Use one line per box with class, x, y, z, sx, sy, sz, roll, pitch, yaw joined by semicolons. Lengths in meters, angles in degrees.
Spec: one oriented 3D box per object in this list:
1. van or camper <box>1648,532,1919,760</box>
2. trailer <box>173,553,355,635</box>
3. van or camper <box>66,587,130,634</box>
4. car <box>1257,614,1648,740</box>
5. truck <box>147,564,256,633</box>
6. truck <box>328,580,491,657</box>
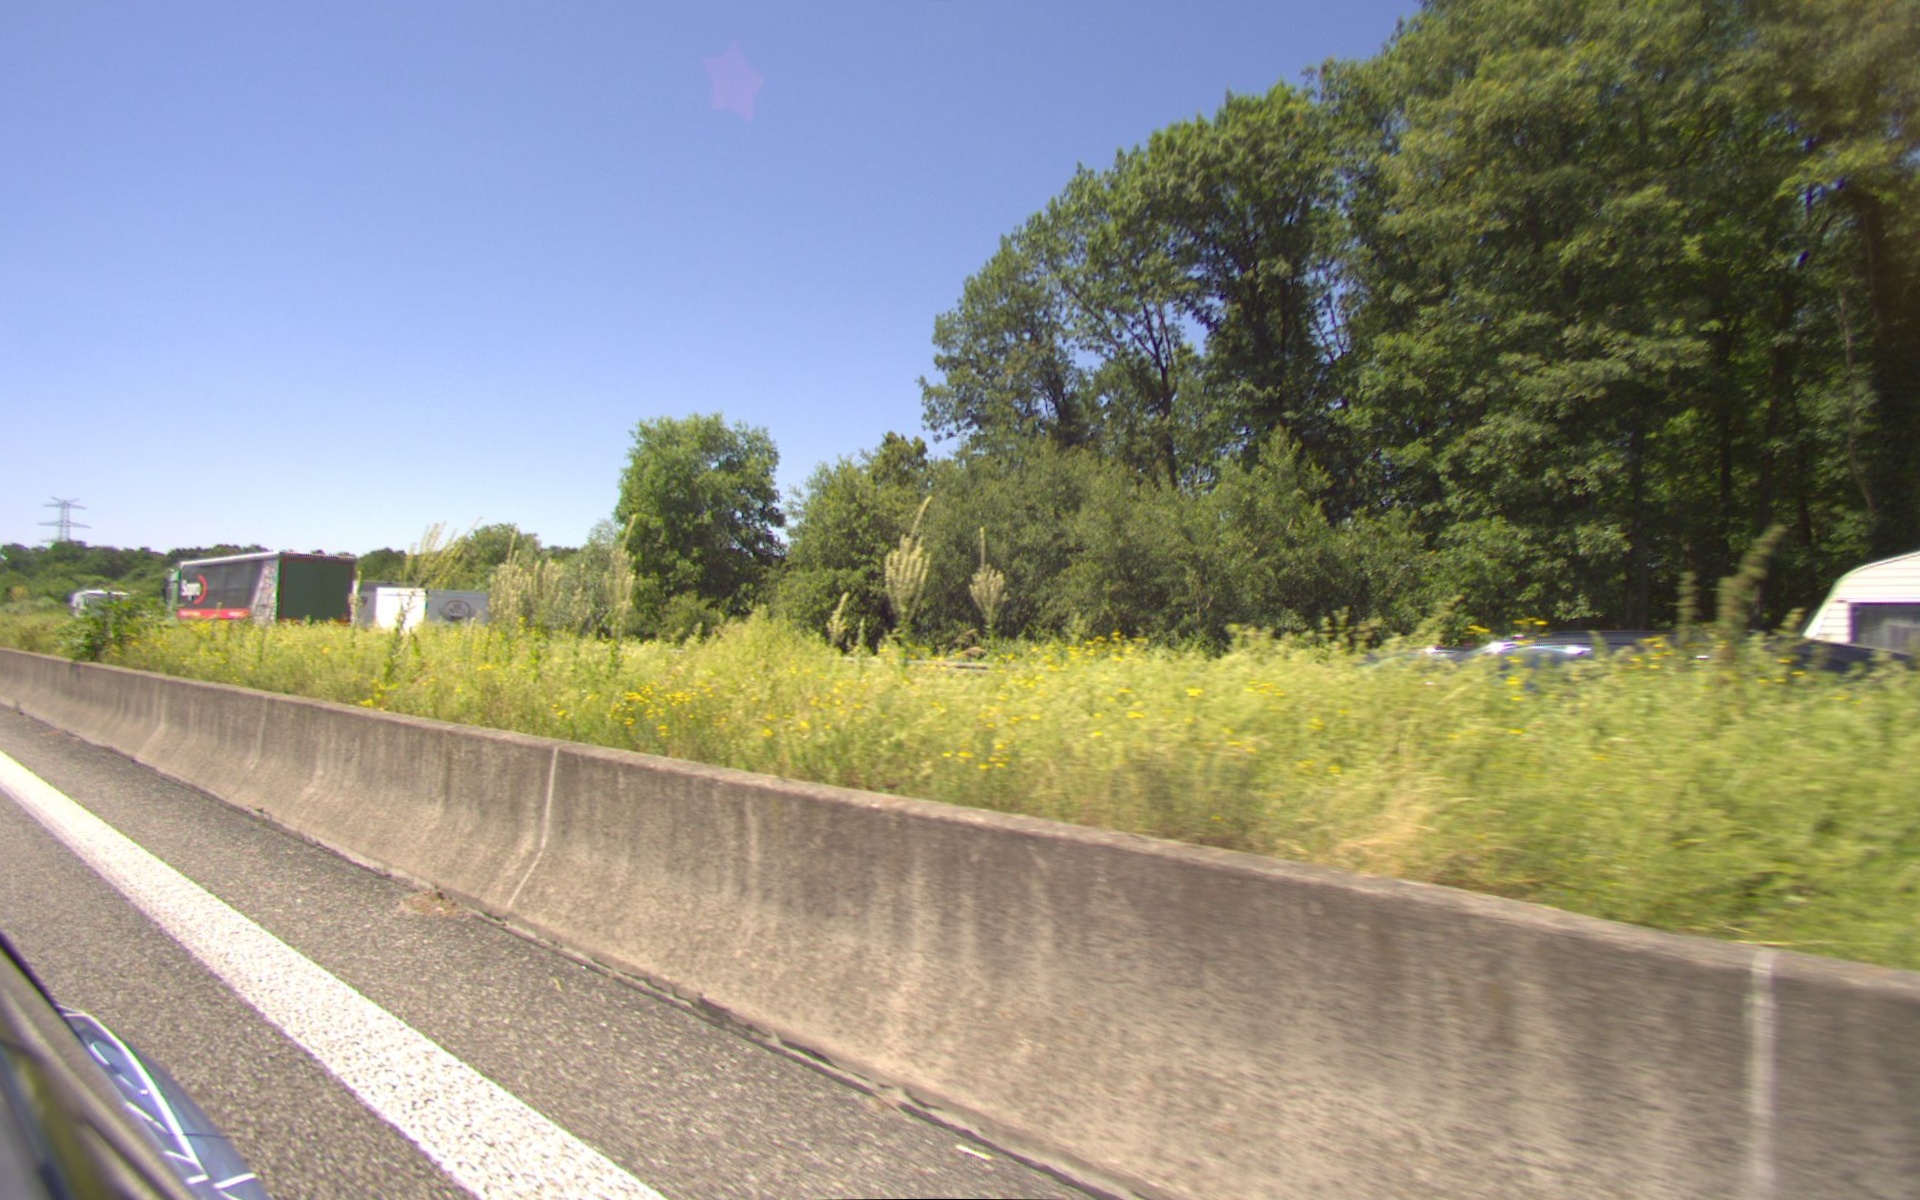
van or camper;9.935;0.405;9.234;5.882;2.029;2.199;0;0;40
trailer;-29.376;-0.114;42.247;14.221;2.992;2.615;-1;-2;40
van or camper;-61.160;0.789;71.762;7.531;3.179;2.481;-1;-1;42
car;5.848;0.811;12.264;3.996;1.252;1.687;0;0;40
truck;-35.871;-0.014;47.774;6.967;3.031;2.580;-1;-2;40
truck;-24.038;0.805;43.845;10.480;2.964;2.659;-1;-2;41
